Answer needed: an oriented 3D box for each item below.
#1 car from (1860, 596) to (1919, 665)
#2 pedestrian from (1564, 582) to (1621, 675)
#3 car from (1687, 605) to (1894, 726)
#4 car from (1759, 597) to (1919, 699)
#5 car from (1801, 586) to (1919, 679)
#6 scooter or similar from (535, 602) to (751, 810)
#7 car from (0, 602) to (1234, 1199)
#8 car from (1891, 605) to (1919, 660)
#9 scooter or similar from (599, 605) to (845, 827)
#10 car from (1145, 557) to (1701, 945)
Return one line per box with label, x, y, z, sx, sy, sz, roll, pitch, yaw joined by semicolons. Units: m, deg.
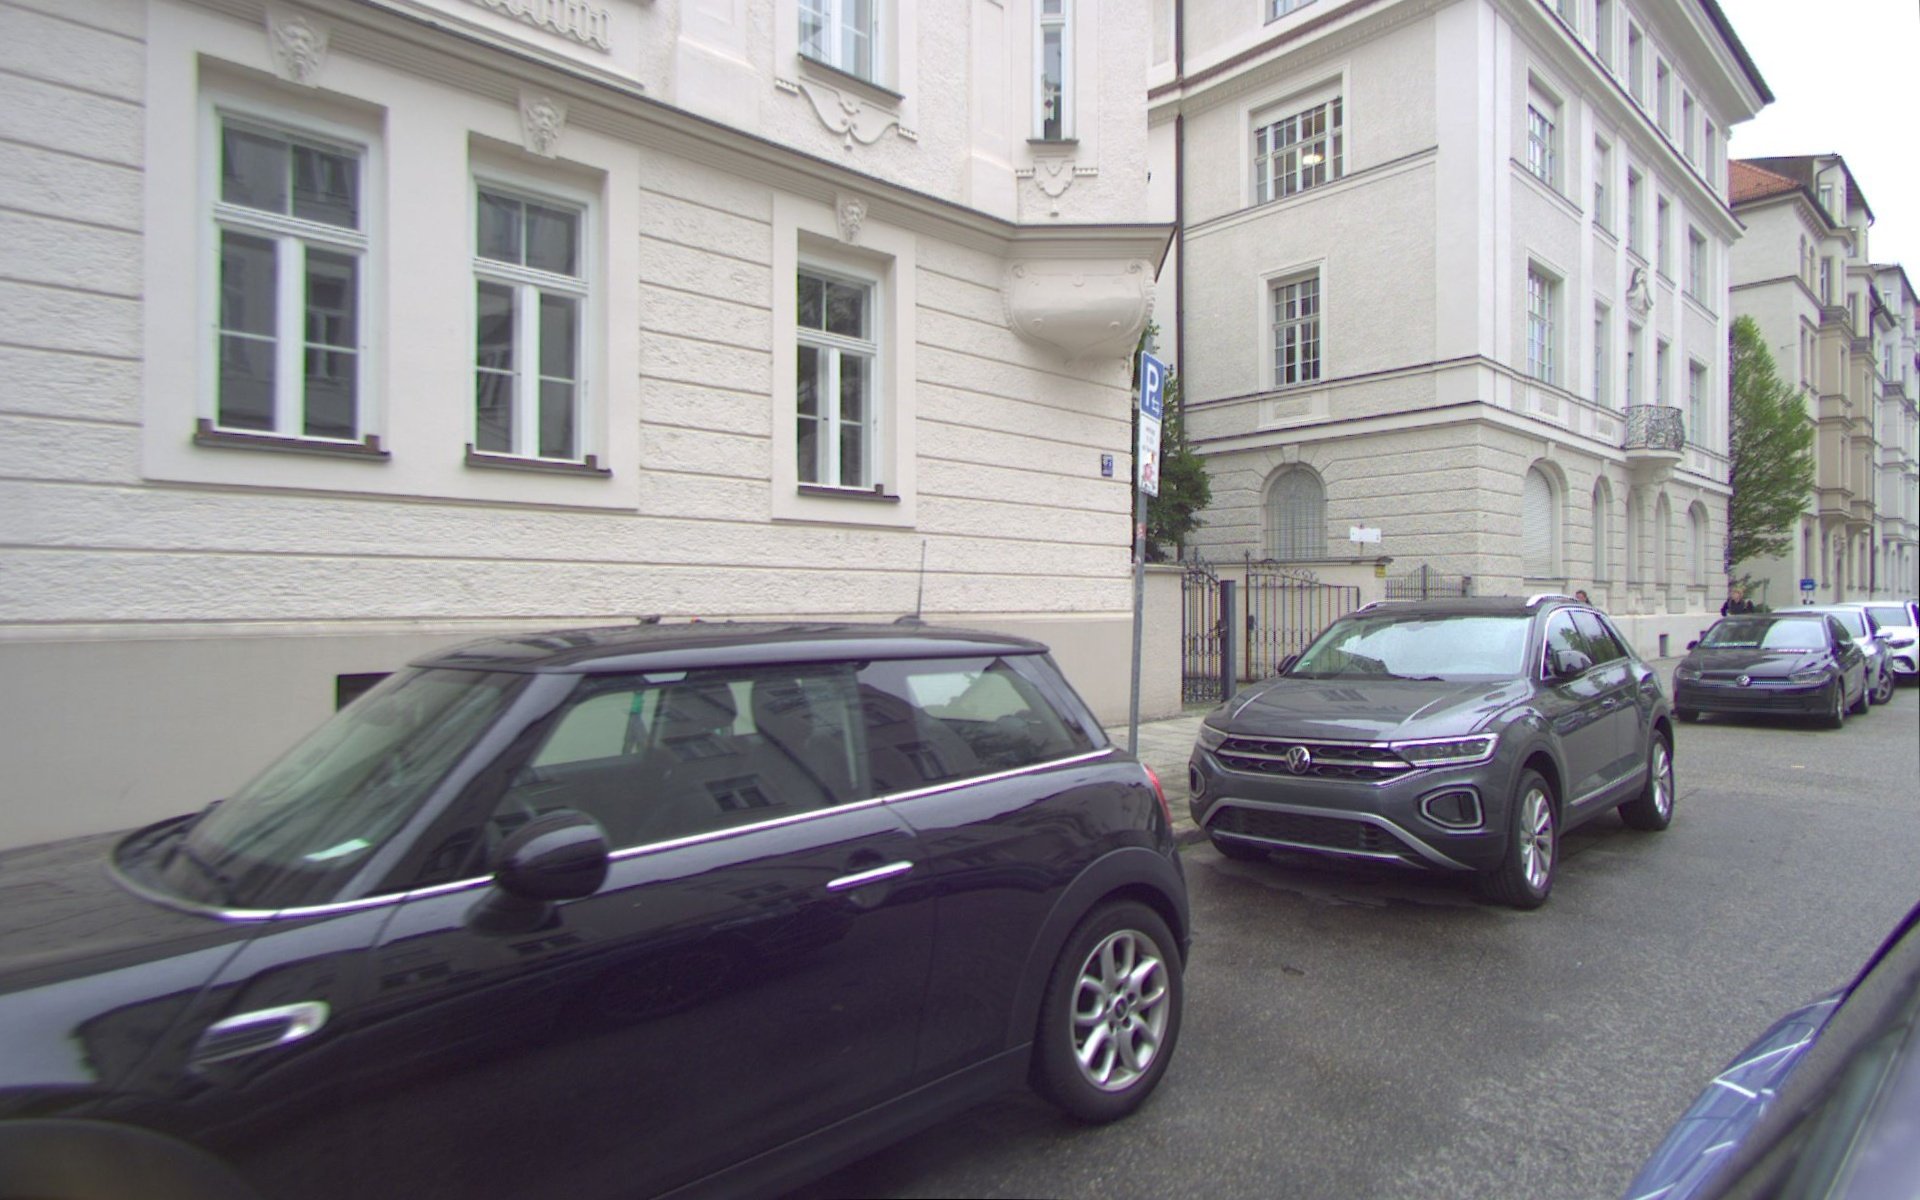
car;22.941;0.685;24.109;4.097;1.544;1.751;0;-1;-41
pedestrian;12.062;0.524;19.290;0.798;1.700;0.683;1;1;-42
car;11.451;0.791;13.864;3.931;1.413;1.614;0;-2;-42
car;14.956;0.725;17.152;3.934;1.520;1.709;0;-1;-44
car;18.437;0.613;20.152;4.313;1.657;1.899;1;-1;-40
scooter or similar;-2.181;0.675;7.012;1.325;1.303;0.508;0;2;-33
car;-1.043;0.744;2.695;3.517;1.413;1.667;0;-2;-39
car;27.371;0.879;28.190;4.151;1.470;1.713;1;-1;-42
scooter or similar;-1.553;0.701;6.689;1.474;1.303;0.542;0;2;-33
car;3.022;0.653;6.194;3.932;1.608;1.709;0;-2;-43
